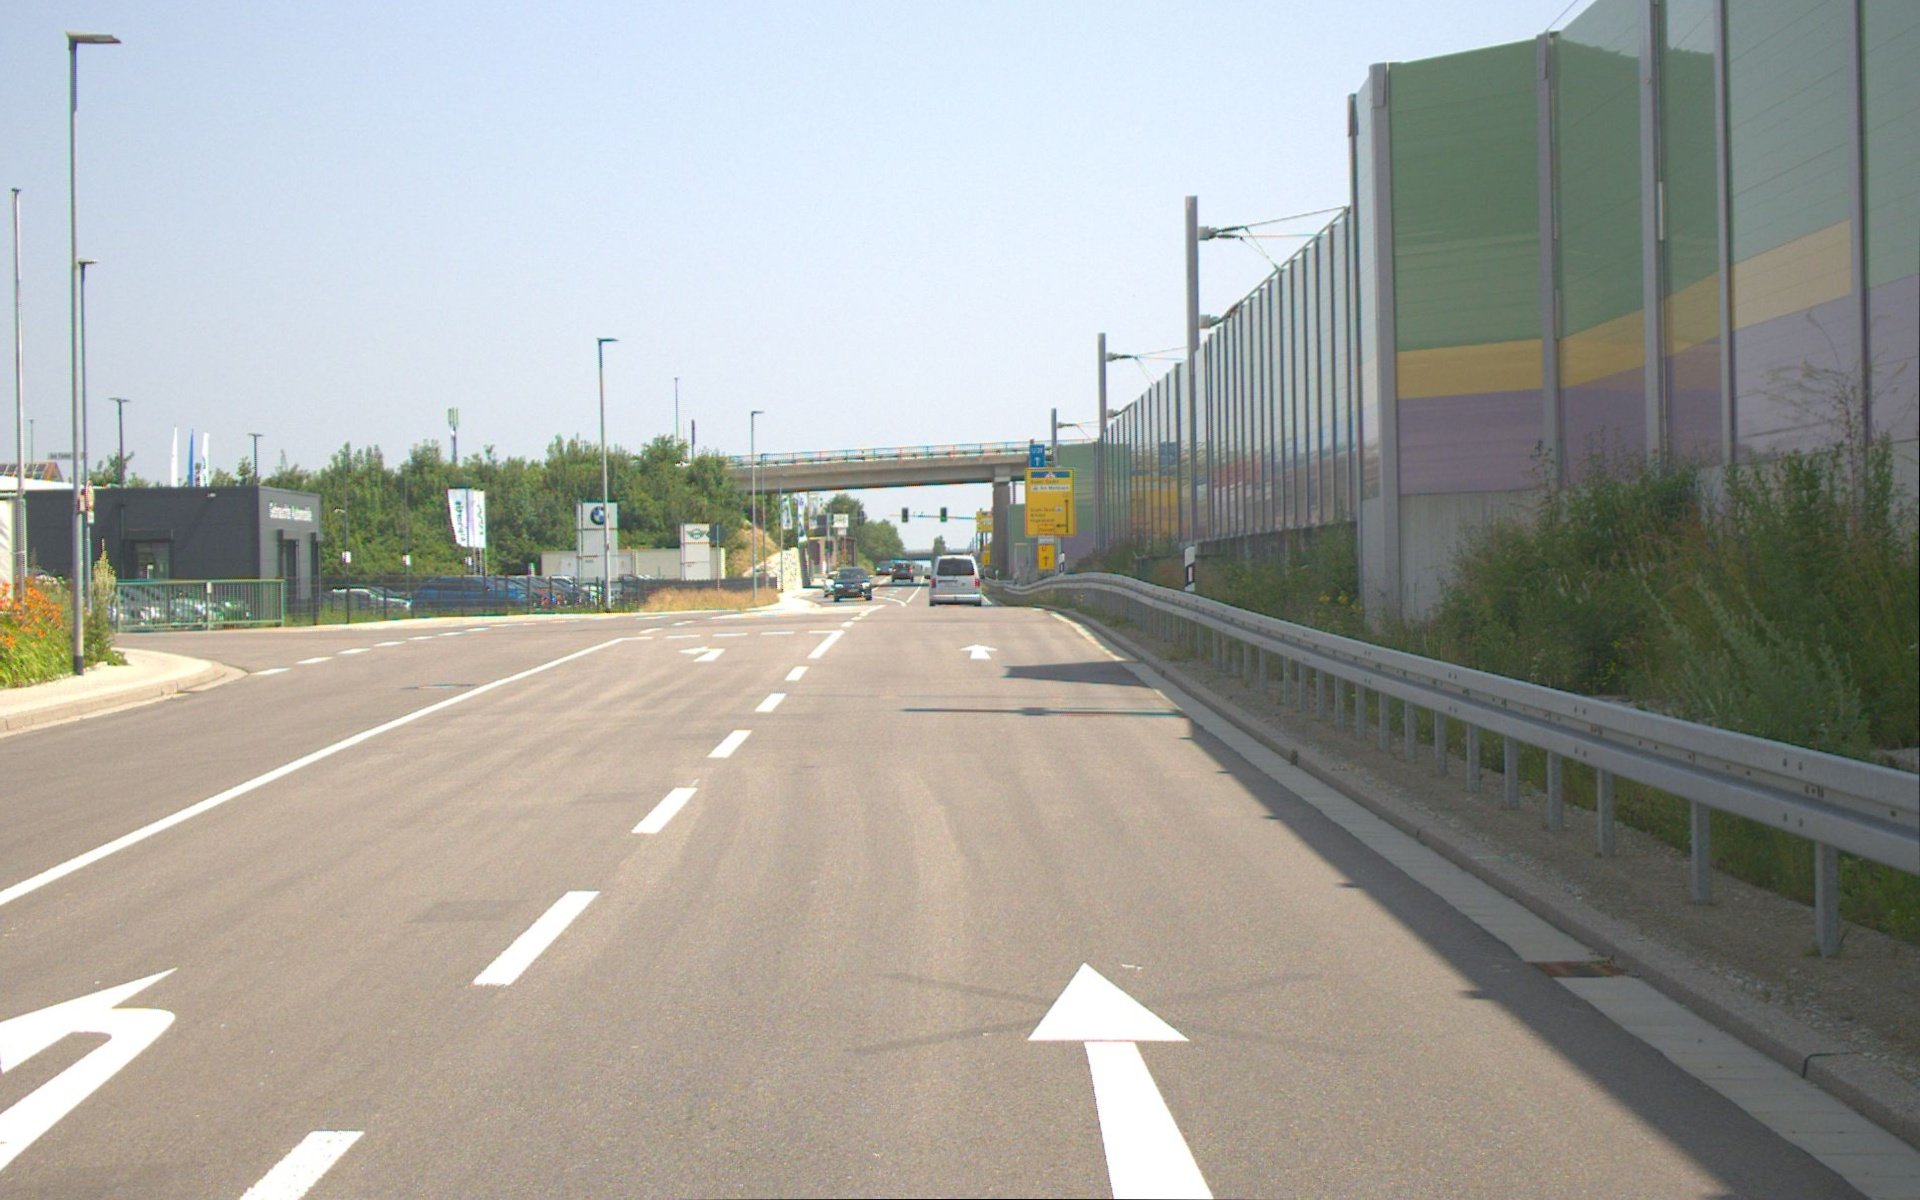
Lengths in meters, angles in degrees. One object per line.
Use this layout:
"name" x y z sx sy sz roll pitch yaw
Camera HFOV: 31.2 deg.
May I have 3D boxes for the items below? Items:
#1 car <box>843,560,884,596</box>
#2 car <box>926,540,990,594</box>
"car" -4.716 -1.075 168.857 1.877 1.667 4.291 -1 1 0
"car" -0.044 -1.117 114.879 1.993 1.751 4.000 -1 1 1
